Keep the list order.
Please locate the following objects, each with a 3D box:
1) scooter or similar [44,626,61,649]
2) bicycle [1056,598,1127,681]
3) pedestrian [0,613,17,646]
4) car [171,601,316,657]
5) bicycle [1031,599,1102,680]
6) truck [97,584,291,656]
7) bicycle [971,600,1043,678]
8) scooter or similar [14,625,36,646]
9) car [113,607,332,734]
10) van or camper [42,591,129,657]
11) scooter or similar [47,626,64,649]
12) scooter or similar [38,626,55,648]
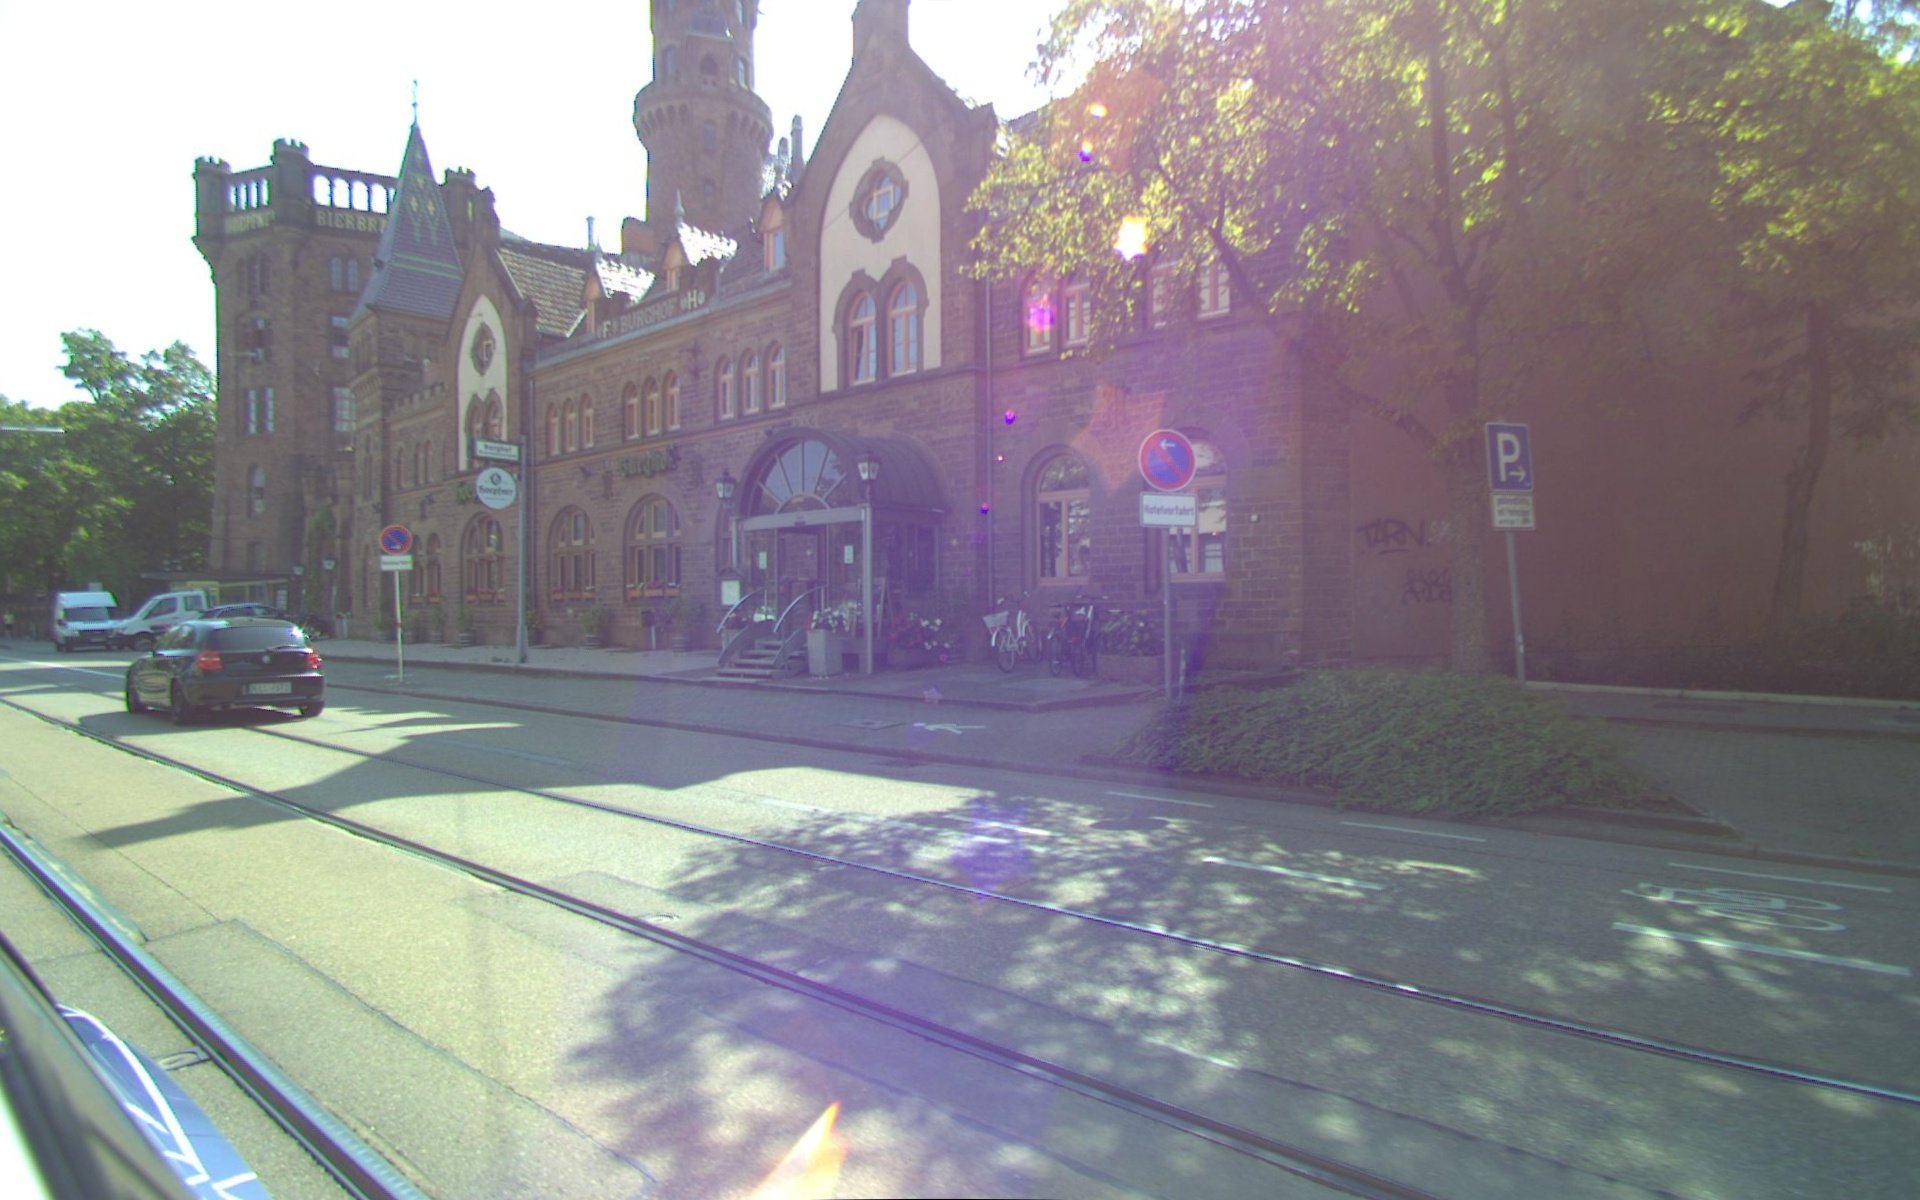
[{"bbox_3d":[-48.777,1.997,54.386,0.334,1.187,1.182,-1,0,-25],"label":"scooter or similar"},{"bbox_3d":[2.009,0.576,15.355,0.399,1.101,1.438,-1,3,36],"label":"bicycle"},{"bbox_3d":[-59.149,1.811,62.752,0.982,2.029,0.856,-2,0,38],"label":"pedestrian"},{"bbox_3d":[-27.359,1.060,38.726,1.999,1.756,4.094,-2,2,41],"label":"car"},{"bbox_3d":[1.664,0.585,15.645,0.399,1.101,1.438,-1,3,36],"label":"bicycle"},{"bbox_3d":[-32.636,0.808,43.295,2.132,2.557,6.250,-3,1,45],"label":"truck"},{"bbox_3d":[0.773,0.607,16.329,0.399,1.101,1.438,-1,3,36],"label":"bicycle"},{"bbox_3d":[-53.216,2.016,57.603,1.309,1.187,0.418,-1,0,25],"label":"scooter or similar"},{"bbox_3d":[-10.794,0.933,14.707,4.203,1.583,1.664,-1,-2,41],"label":"car"},{"bbox_3d":[-38.212,1.030,44.155,5.953,2.695,2.091,-1,0,42],"label":"van or camper"},{"bbox_3d":[-47.923,1.975,53.641,0.334,1.187,1.182,-1,0,-25],"label":"scooter or similar"},{"bbox_3d":[-49.727,2.020,55.076,0.334,1.187,1.182,-1,0,-25],"label":"scooter or similar"}]
